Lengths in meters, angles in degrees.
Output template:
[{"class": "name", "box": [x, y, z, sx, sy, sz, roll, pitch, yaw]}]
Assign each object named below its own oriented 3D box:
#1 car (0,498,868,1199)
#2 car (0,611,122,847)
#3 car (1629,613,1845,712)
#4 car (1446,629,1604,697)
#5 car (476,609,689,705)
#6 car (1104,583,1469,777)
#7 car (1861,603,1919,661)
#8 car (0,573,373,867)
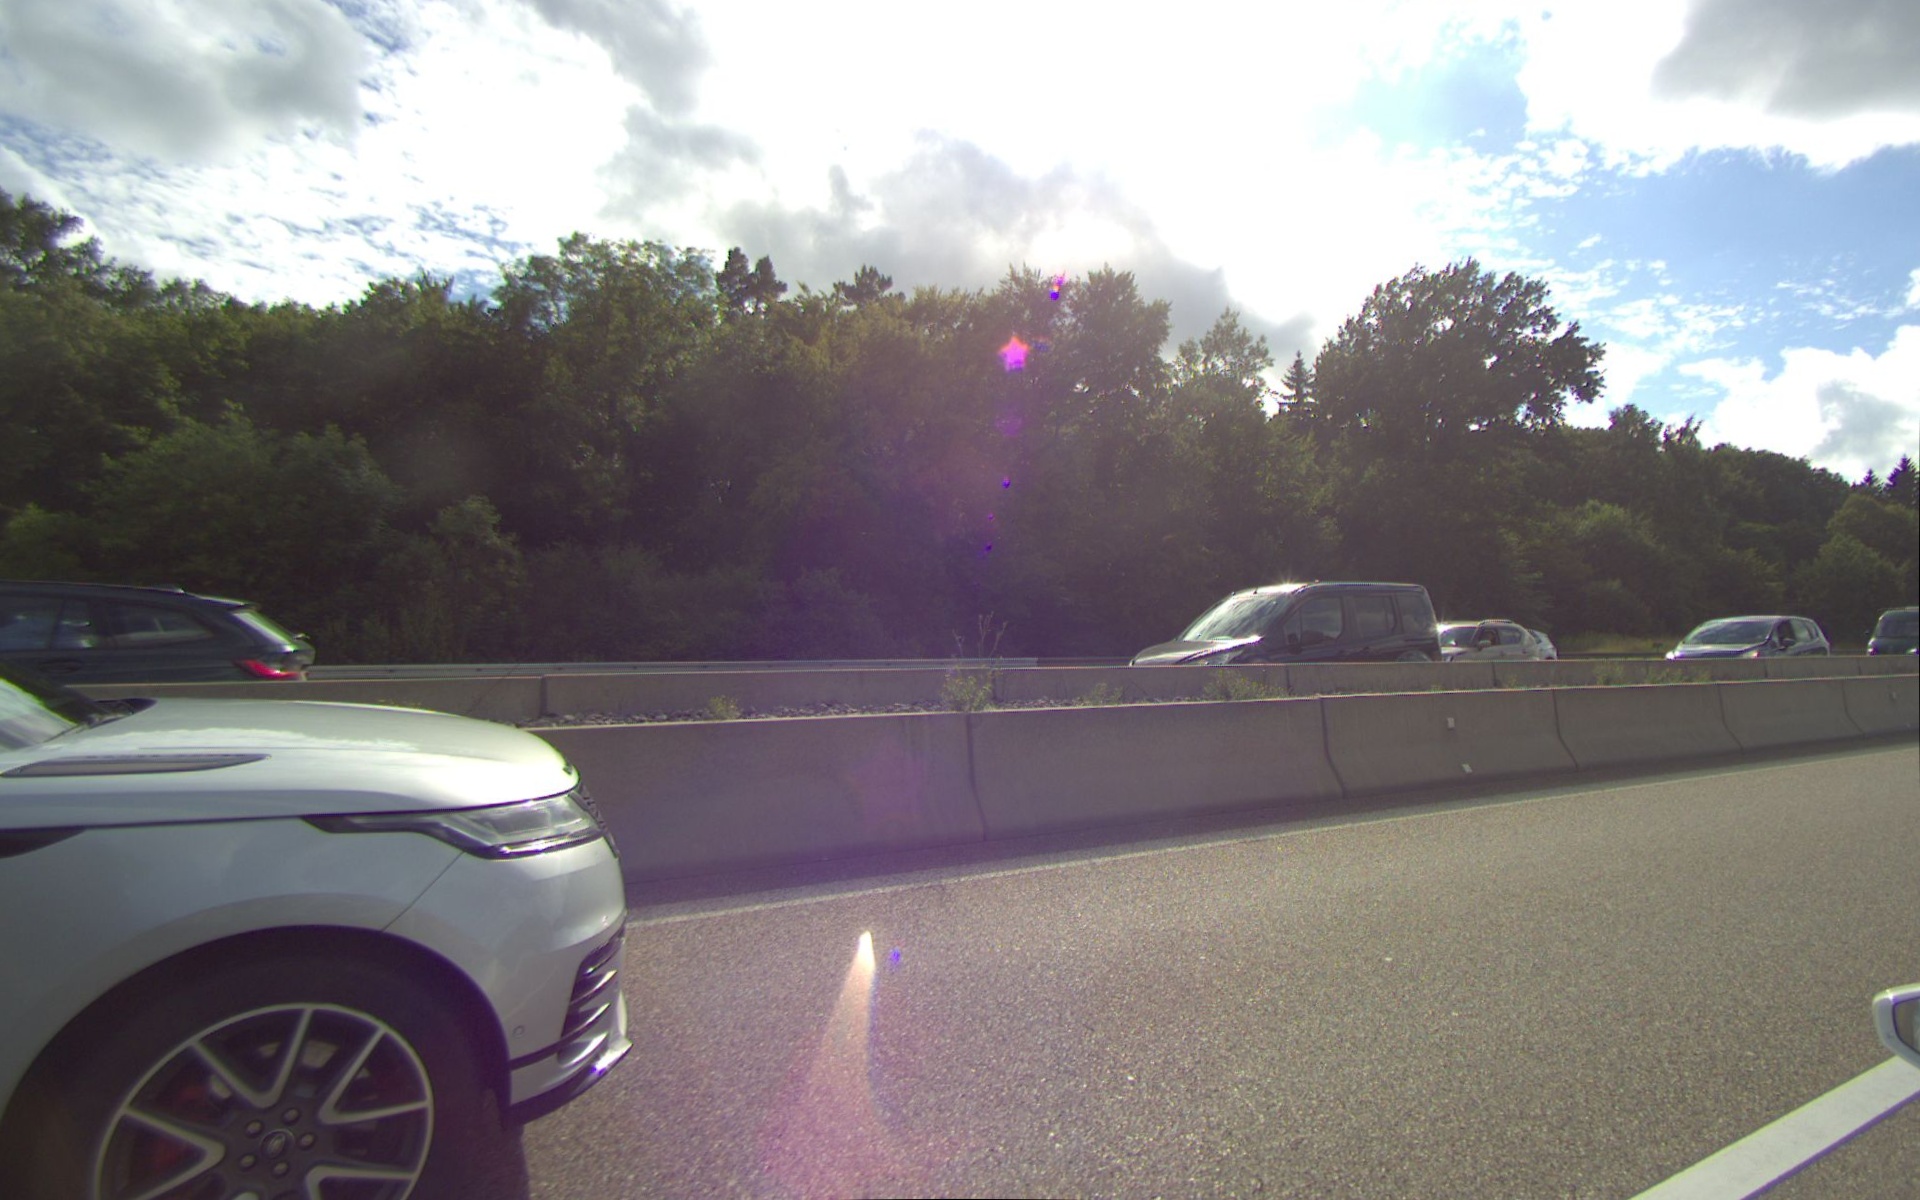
[{"class": "car", "box": [-2.895, 0.605, 2.119, 5.046, 1.628, 1.891, 2, -1, -30]}, {"class": "car", "box": [-10.566, 1.073, 8.901, 4.405, 2.040, 1.985, 3, -1, -29]}, {"class": "car", "box": [15.711, 1.248, 20.277, 4.405, 1.786, 1.850, 3, -1, -29]}, {"class": "car", "box": [16.437, 1.787, 29.207, 4.404, 1.786, 1.985, 1, 0, -29]}, {"class": "car", "box": [-8.871, 1.359, 23.668, 4.405, 2.040, 1.985, 3, -1, -29]}, {"class": "car", "box": [4.099, 0.895, 12.438, 4.400, 2.040, 1.808, 2, 0, -30]}, {"class": "car", "box": [41.923, 1.387, 44.012, 5.264, 2.405, 1.985, 1, 0, -29]}, {"class": "car", "box": [-6.605, 0.703, 6.796, 4.405, 1.782, 1.985, 3, -1, -29]}]
